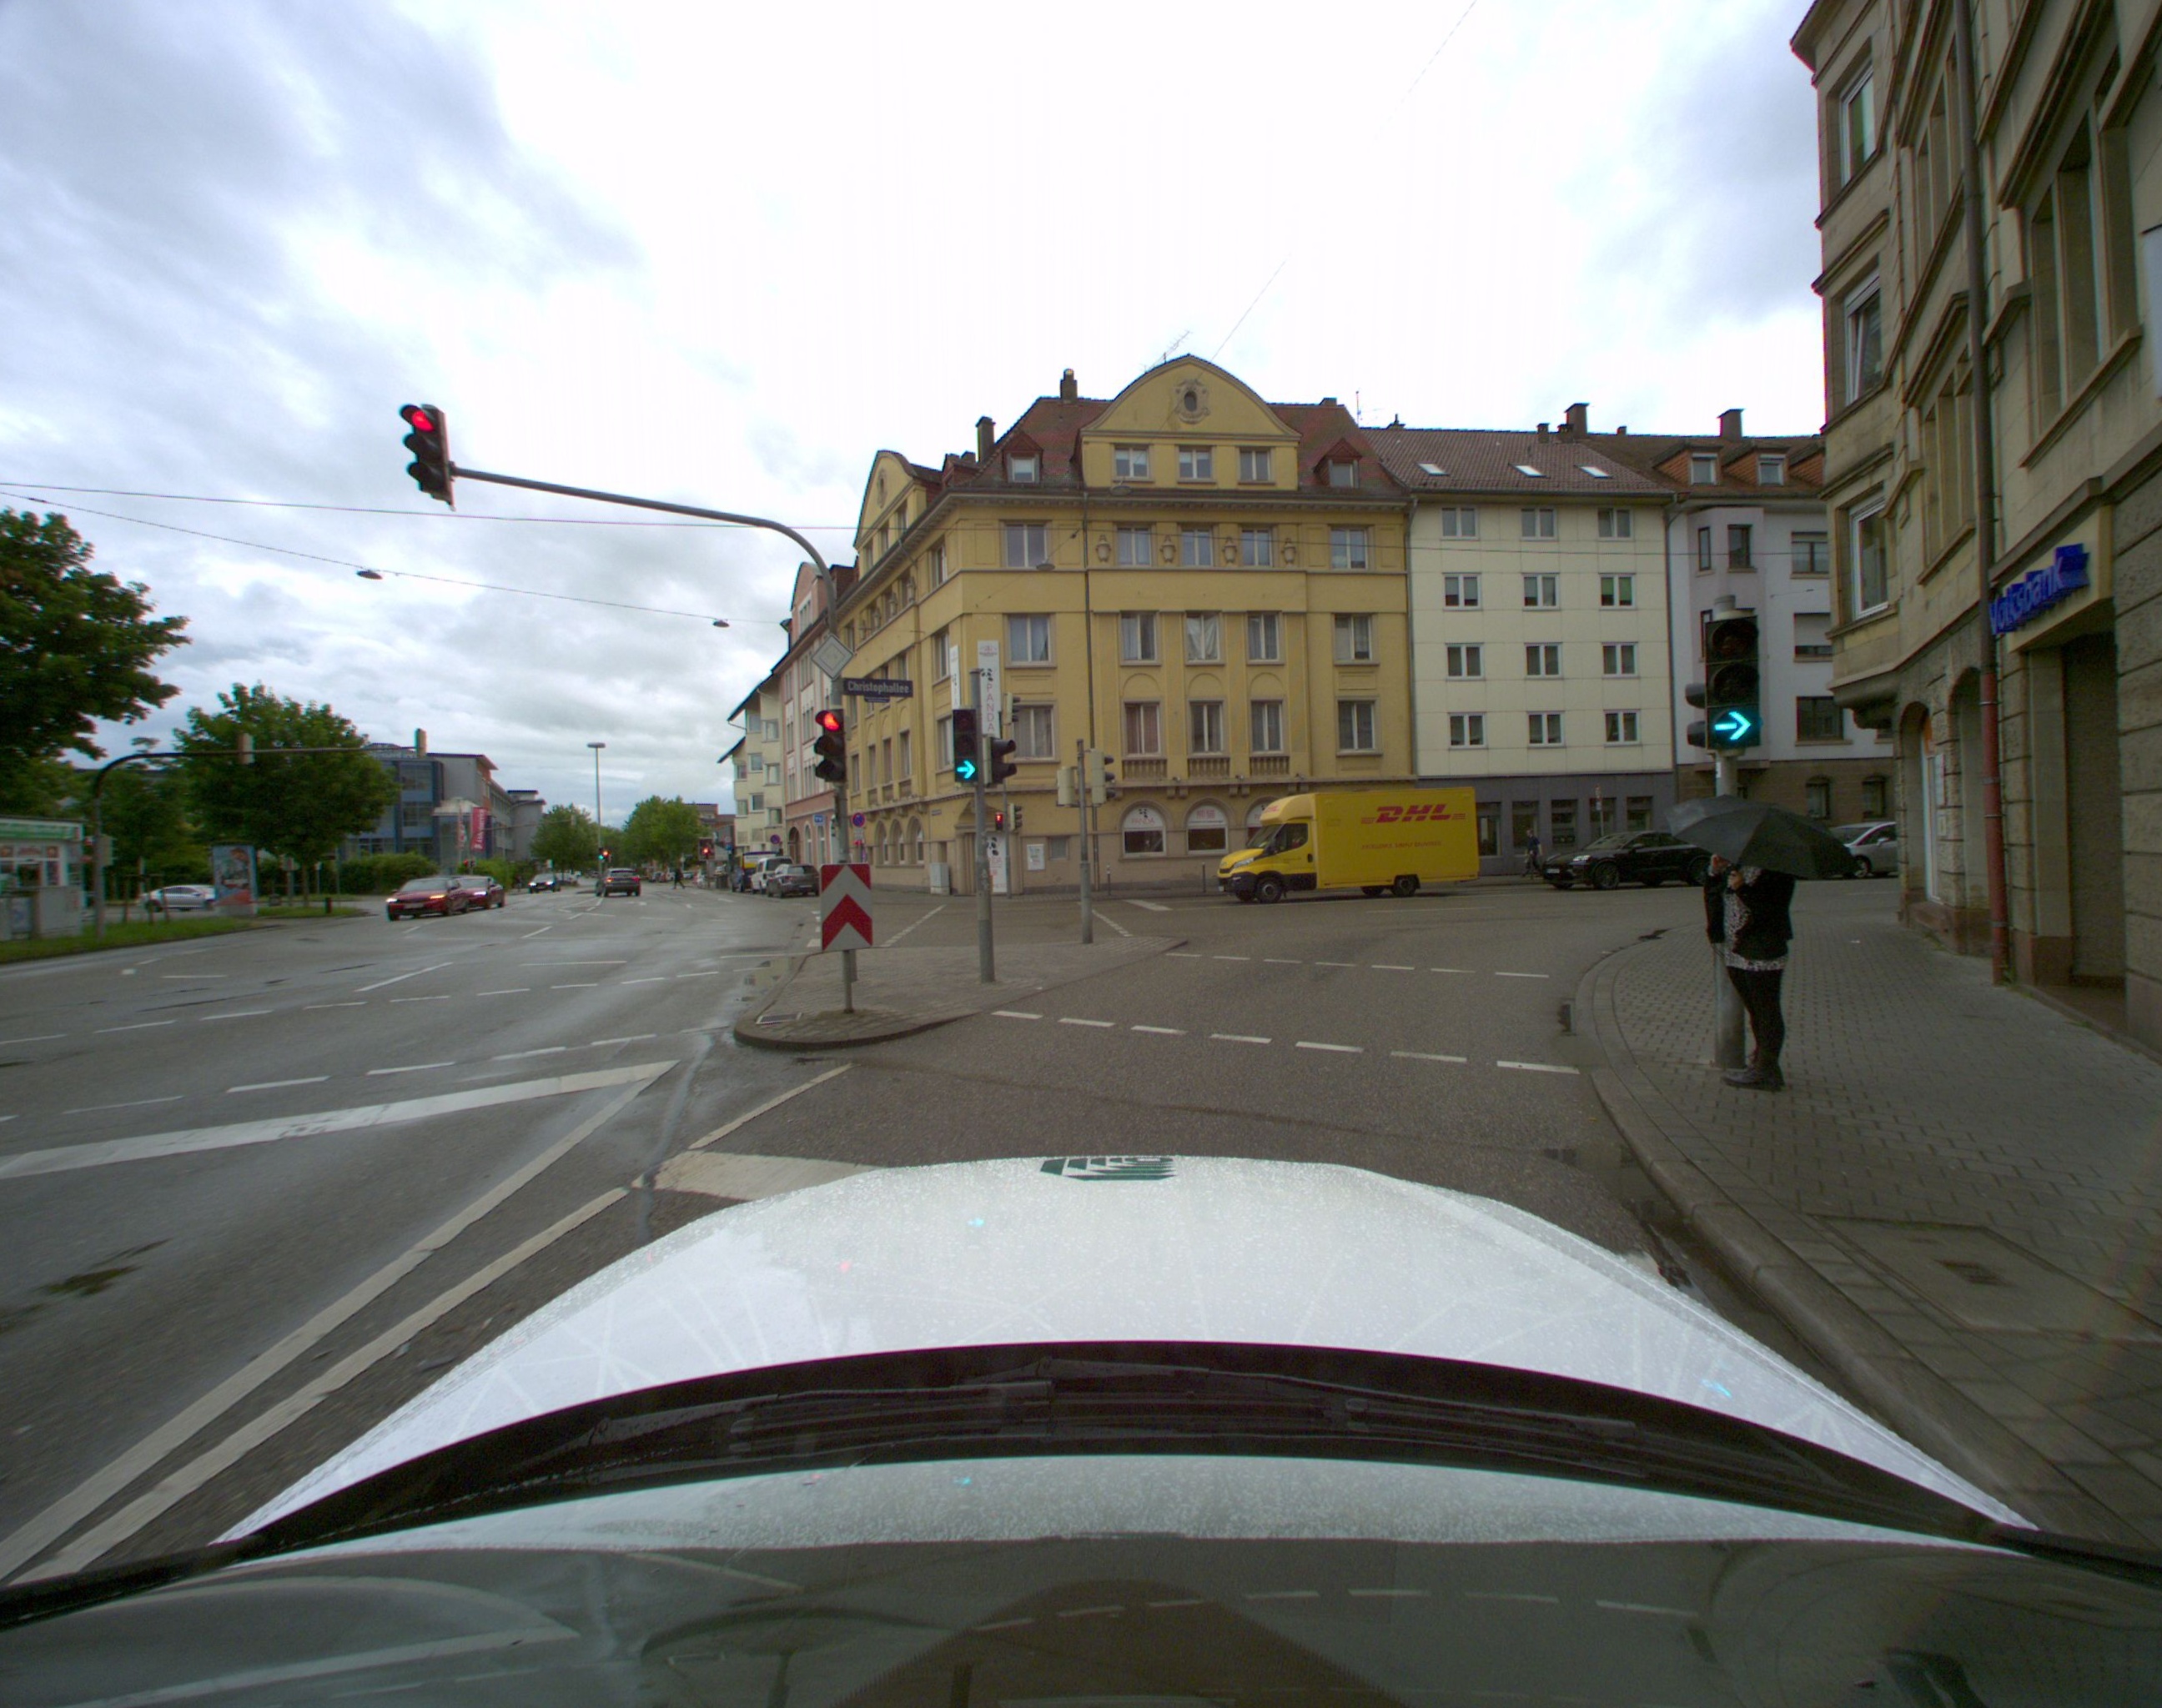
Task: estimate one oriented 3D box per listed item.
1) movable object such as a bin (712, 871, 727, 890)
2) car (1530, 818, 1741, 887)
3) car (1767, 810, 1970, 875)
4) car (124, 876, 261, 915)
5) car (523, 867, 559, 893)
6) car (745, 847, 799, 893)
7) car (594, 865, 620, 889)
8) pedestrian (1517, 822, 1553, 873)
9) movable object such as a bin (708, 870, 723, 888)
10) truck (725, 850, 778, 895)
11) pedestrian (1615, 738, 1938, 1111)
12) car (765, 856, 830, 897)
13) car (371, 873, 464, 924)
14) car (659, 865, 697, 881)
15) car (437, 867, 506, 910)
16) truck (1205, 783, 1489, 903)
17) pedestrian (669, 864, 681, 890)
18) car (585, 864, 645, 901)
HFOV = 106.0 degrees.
[{"bbox_3d":[-24.202,1.780,54.527,0.753,1.231,0.974,3,-2,-31],"label":"movable object such as a bin"},{"bbox_3d":[15.551,-0.052,22.977,4.806,1.684,1.995,-2,1,-7],"label":"car"},{"bbox_3d":[23.181,-0.340,24.060,4.392,1.684,1.946,-2,1,-6],"label":"car"},{"bbox_3d":[-47.941,2.211,44.048,4.544,1.793,1.989,-2,1,-16],"label":"car"},{"bbox_3d":[-46.028,2.162,69.429,2.004,2.013,3.965,-2,0,-27],"label":"car"},{"bbox_3d":[-15.722,0.781,41.302,1.774,2.180,3.960,-1,1,-32],"label":"car"},{"bbox_3d":[-44.001,2.095,75.622,2.006,2.013,3.961,-2,1,-30],"label":"car"},{"bbox_3d":[16.414,-0.223,29.452,0.789,1.791,0.761,-2,0,-7],"label":"pedestrian"},{"bbox_3d":[-25.054,1.708,55.818,0.753,1.231,0.974,3,-2,-31],"label":"movable object such as a bin"},{"bbox_3d":[-18.705,1.017,46.164,2.040,2.389,4.194,-1,1,-32],"label":"truck"},{"bbox_3d":[3.957,0.371,4.781,1.049,1.903,1.029,-2,0,16],"label":"pedestrian"},{"bbox_3d":[-12.280,0.966,35.121,1.891,1.637,3.960,-1,-1,-31],"label":"car"},{"bbox_3d":[-24.169,1.559,29.818,1.855,1.684,3.963,1,-1,-28],"label":"car"},{"bbox_3d":[-51.459,2.414,103.992,4.022,2.014,1.976,1,0,-42],"label":"car"},{"bbox_3d":[-26.038,1.438,34.921,1.774,1.634,3.592,-2,0,-28],"label":"car"},{"bbox_3d":[7.136,-0.322,22.149,7.085,2.851,2.077,-2,0,-8],"label":"truck"},{"bbox_3d":[-31.148,1.781,62.489,0.727,1.937,0.784,-2,0,-33],"label":"pedestrian"},{"bbox_3d":[-25.277,1.522,44.125,2.011,1.815,3.952,-2,0,-41],"label":"car"}]
